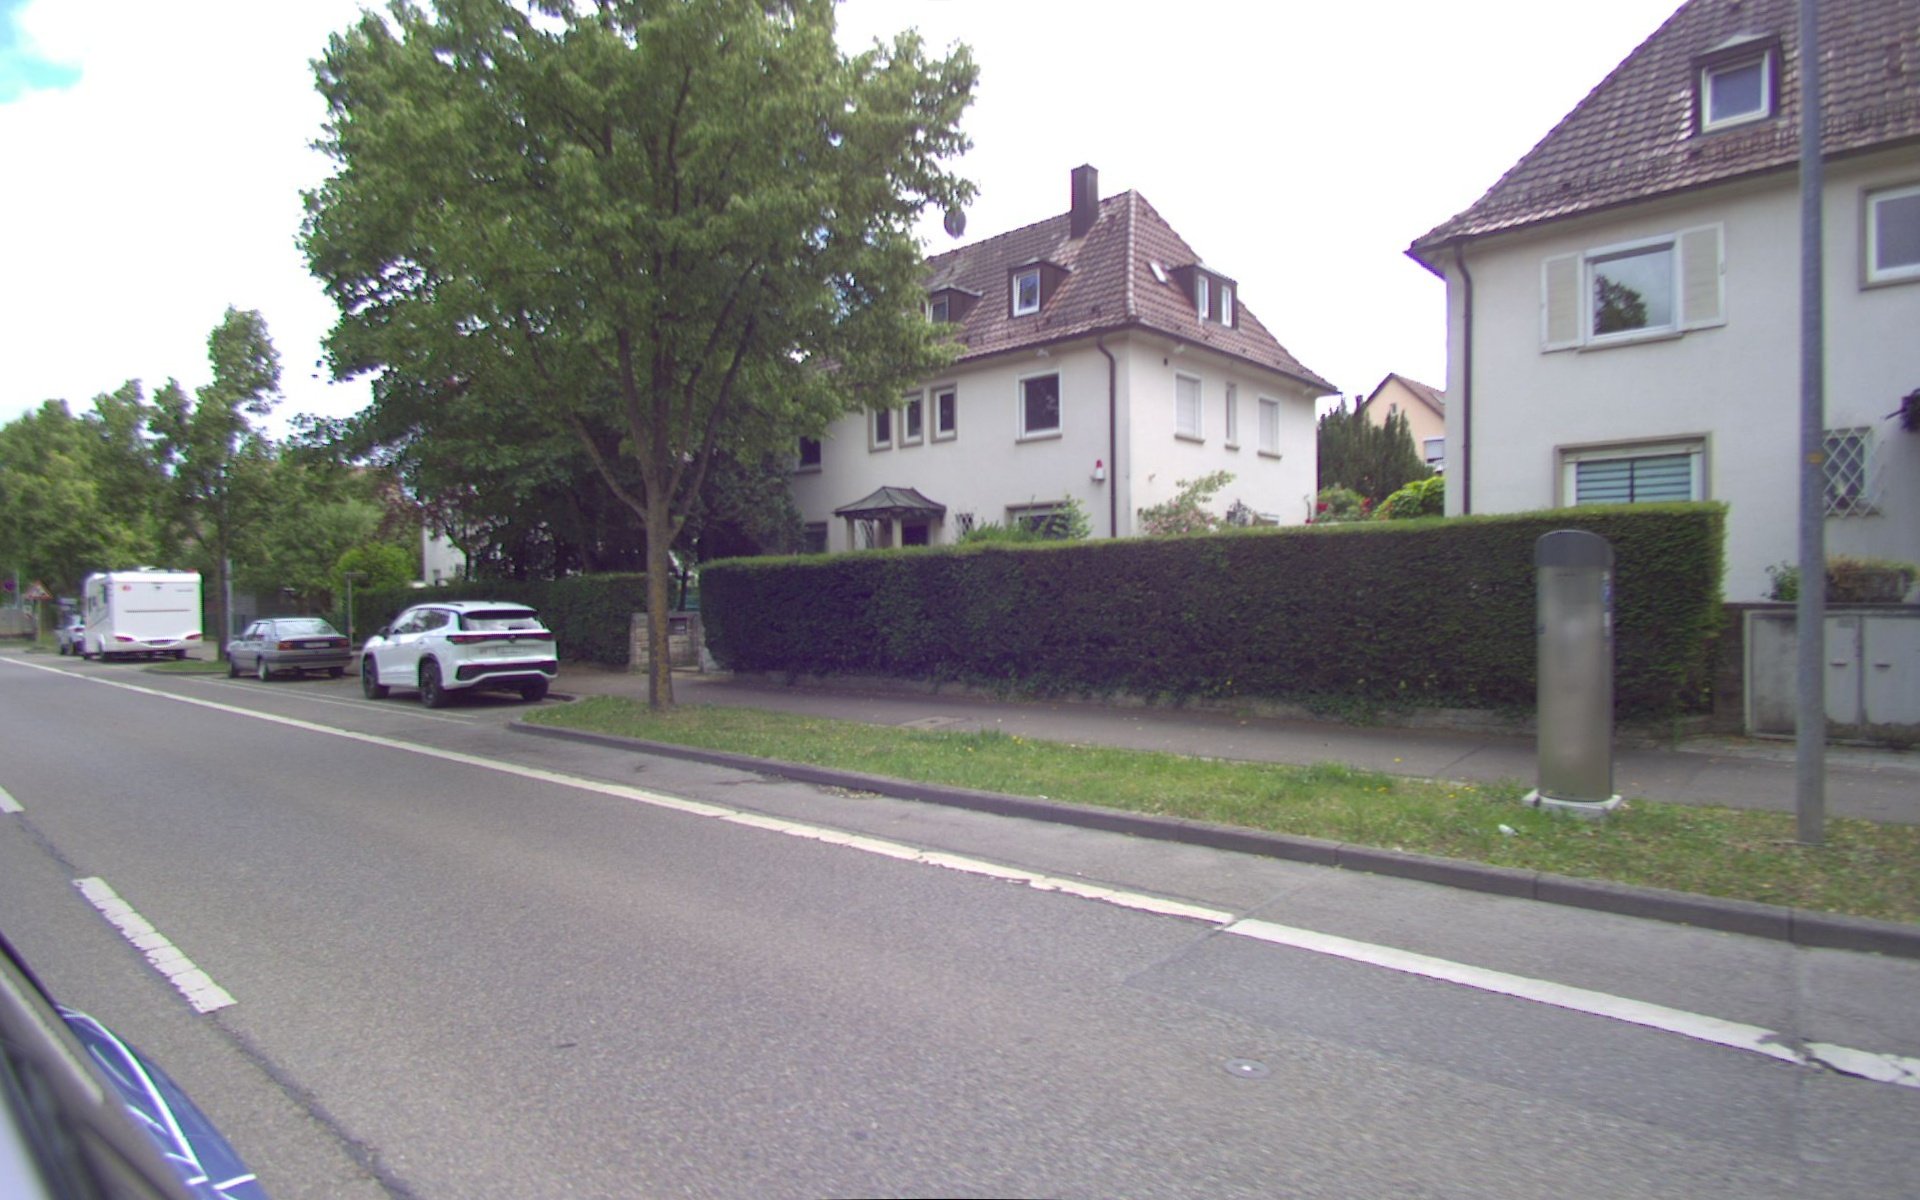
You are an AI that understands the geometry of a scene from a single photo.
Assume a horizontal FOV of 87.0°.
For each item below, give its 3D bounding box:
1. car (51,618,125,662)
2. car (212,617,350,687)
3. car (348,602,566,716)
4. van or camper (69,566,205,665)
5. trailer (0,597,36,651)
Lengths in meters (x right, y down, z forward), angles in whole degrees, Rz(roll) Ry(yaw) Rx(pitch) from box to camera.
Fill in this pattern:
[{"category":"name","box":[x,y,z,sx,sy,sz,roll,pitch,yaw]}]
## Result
[{"category":"car","box":[-34.500,1.543,40.014,4.271,1.612,1.704,-1,-1,42]},{"category":"car","box":[-16.105,1.180,23.916,4.448,1.481,1.540,-1,0,40]},{"category":"car","box":[-8.667,0.912,17.233,4.699,1.664,1.797,-1,0,43]},{"category":"van or camper","box":[-28.151,0.523,34.481,7.690,3.032,2.409,-1,-1,42]},{"category":"trailer","box":[-56.430,1.373,59.163,7.471,2.963,2.646,0,1,41]}]
